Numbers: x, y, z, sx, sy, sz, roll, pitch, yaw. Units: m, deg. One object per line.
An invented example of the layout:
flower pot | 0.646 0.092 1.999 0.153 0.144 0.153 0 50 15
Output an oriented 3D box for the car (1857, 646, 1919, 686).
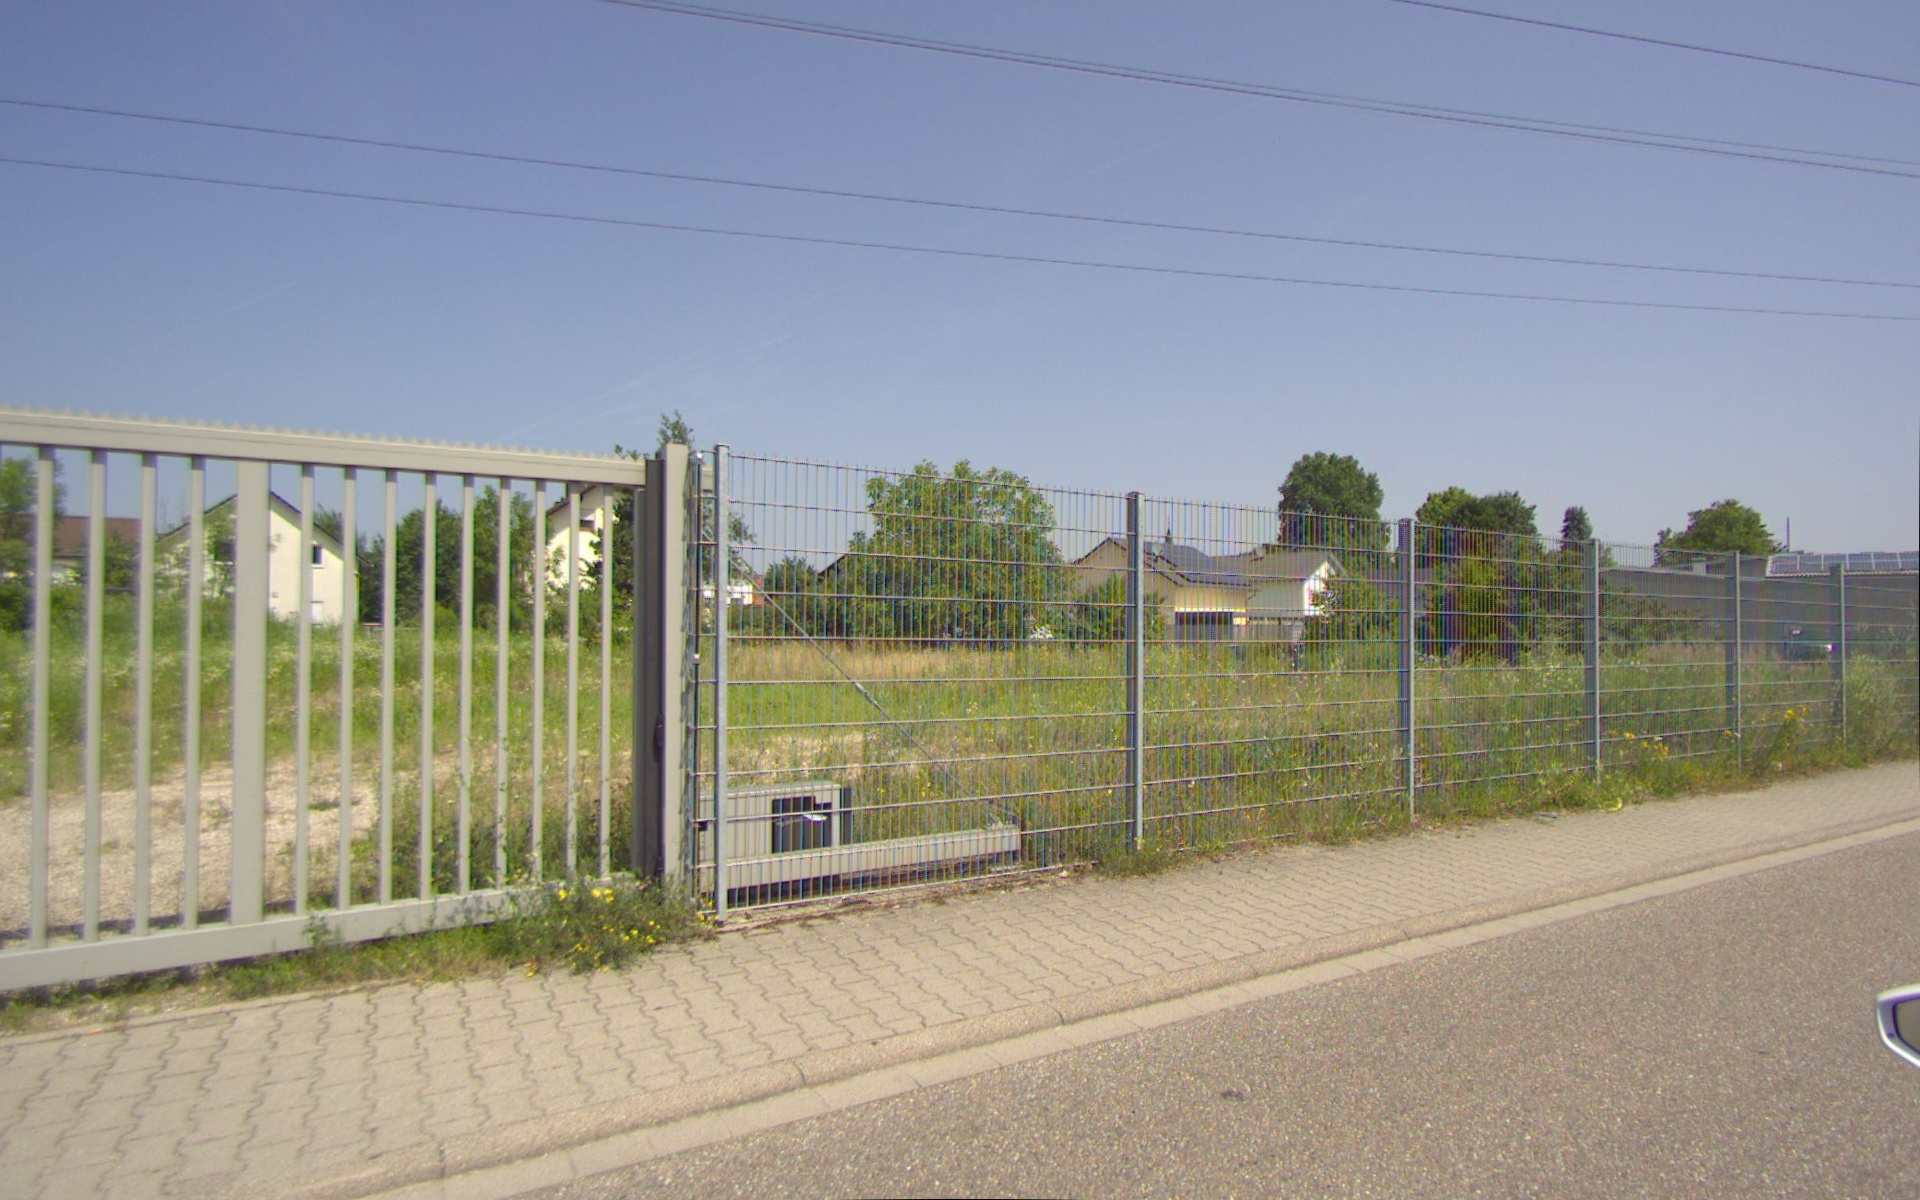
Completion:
car | 36.398 2.544 38.973 1.837 1.433 3.432 0 -1 33
